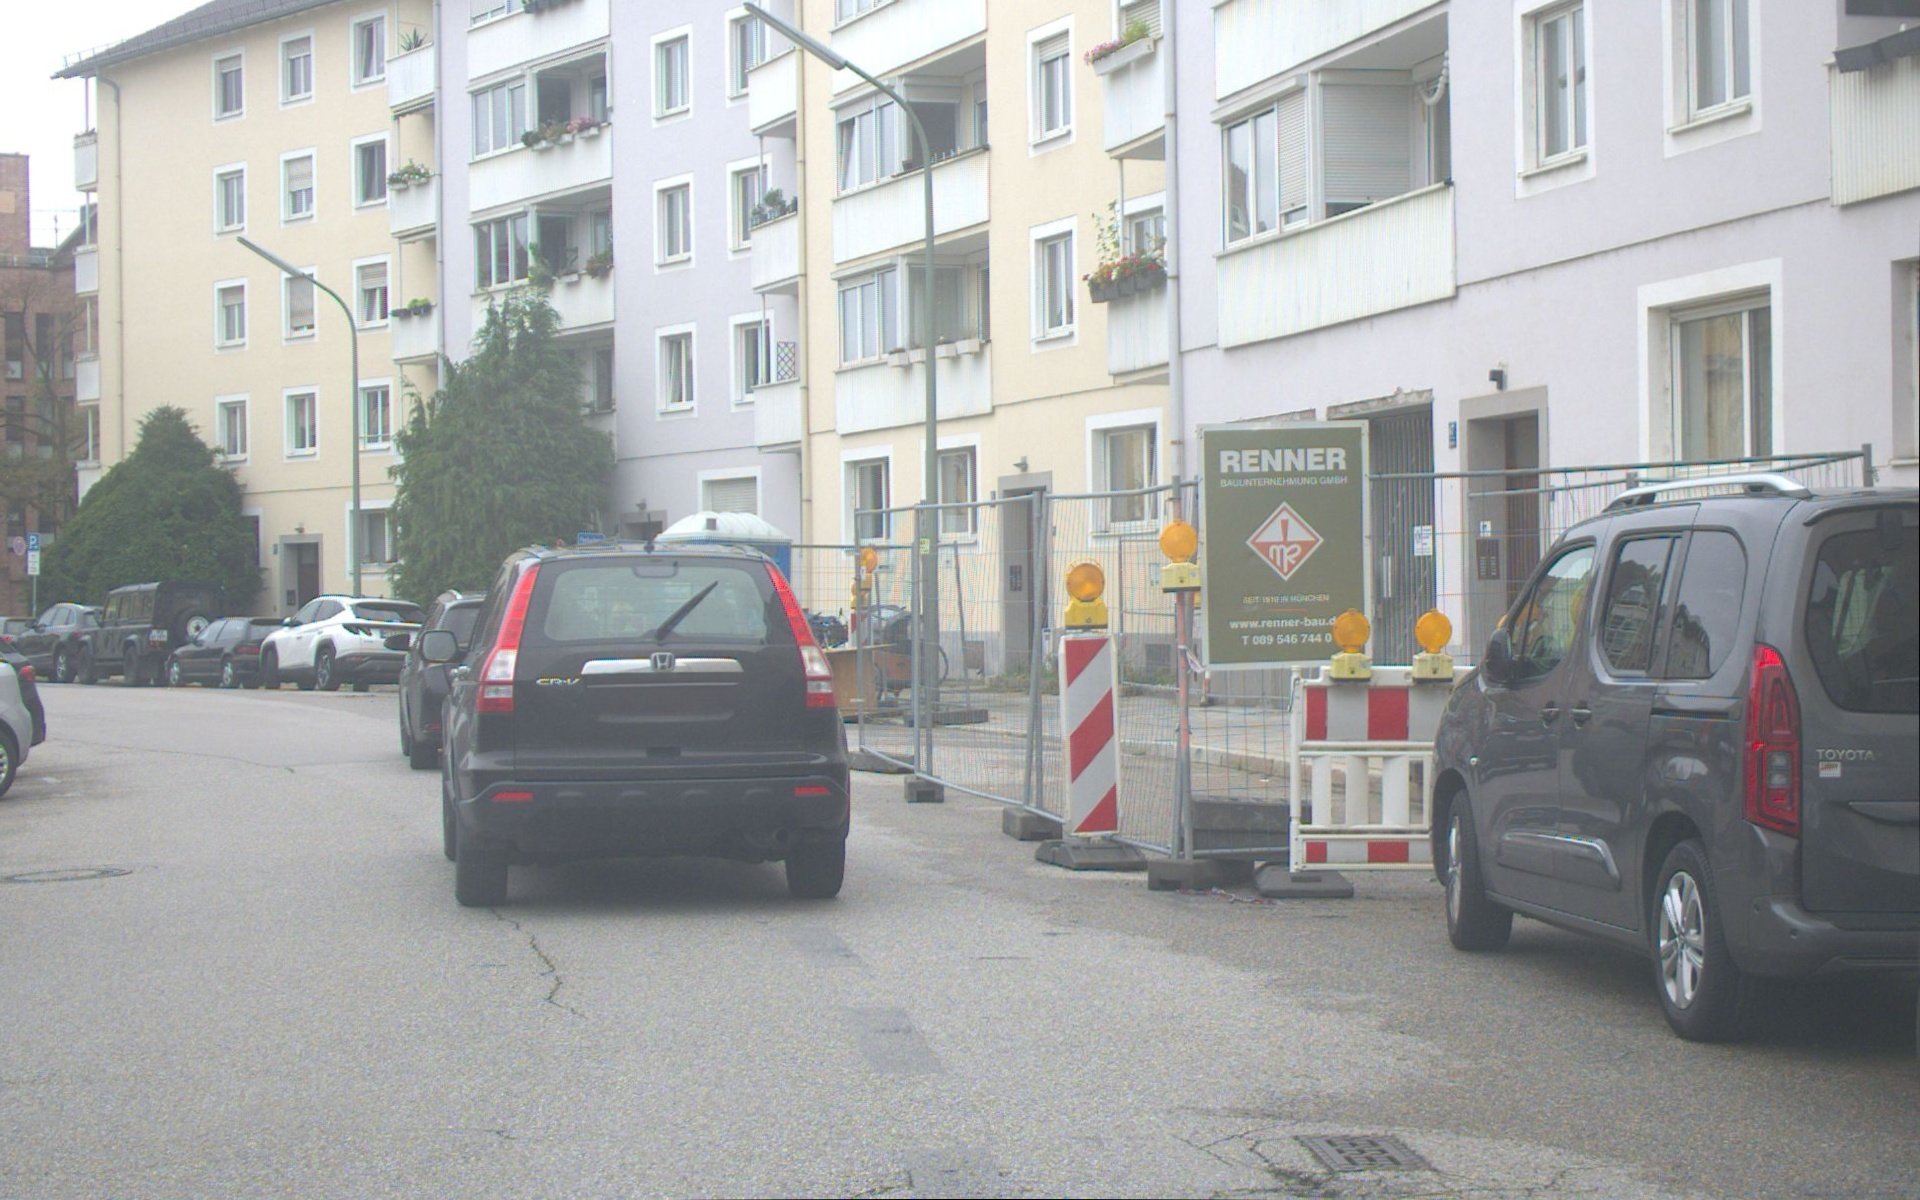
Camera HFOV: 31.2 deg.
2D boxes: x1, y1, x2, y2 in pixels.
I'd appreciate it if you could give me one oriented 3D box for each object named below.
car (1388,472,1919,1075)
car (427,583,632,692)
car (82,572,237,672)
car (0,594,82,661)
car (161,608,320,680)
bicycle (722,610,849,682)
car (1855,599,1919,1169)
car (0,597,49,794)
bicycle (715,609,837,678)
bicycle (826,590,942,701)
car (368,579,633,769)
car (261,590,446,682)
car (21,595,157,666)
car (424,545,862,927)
[{"bbox_3d":[2.945,0.517,12.491,1.777,1.800,4.277,1,0,-6],"label":"car"},{"bbox_3d":[-6.228,0.509,49.407,1.724,1.478,4.001,0,0,-26],"label":"car"},{"bbox_3d":[-15.523,0.396,66.530,1.724,1.871,4.000,0,0,-32],"label":"car"},{"bbox_3d":[-20.317,0.572,74.066,1.697,1.384,3.602,0,1,-32],"label":"car"},{"bbox_3d":[-13.132,0.784,62.633,1.697,1.232,3.602,0,1,-32],"label":"car"},{"bbox_3d":[-2.728,0.713,53.782,1.865,1.087,0.646,0,0,-20],"label":"bicycle"},{"bbox_3d":[3.239,0.739,7.546,1.708,1.442,3.829,1,0,3],"label":"car"},{"bbox_3d":[-9.039,0.870,25.472,1.683,1.476,4.077,-5,0,42],"label":"car"},{"bbox_3d":[-2.995,0.705,55.819,1.865,1.087,0.646,0,0,-20],"label":"bicycle"},{"bbox_3d":[-1.005,0.569,44.409,0.968,1.384,2.564,0,0,-14],"label":"bicycle"},{"bbox_3d":[-3.945,0.572,29.023,1.678,1.476,4.087,0,0,-15],"label":"car"},{"bbox_3d":[-10.324,0.583,58.336,1.724,1.478,4.000,0,1,-32],"label":"car"},{"bbox_3d":[-17.850,0.614,70.373,1.697,1.384,3.602,0,1,-32],"label":"car"},{"bbox_3d":[-1.645,0.581,16.965,1.890,1.642,3.992,0,0,-8],"label":"car"}]
